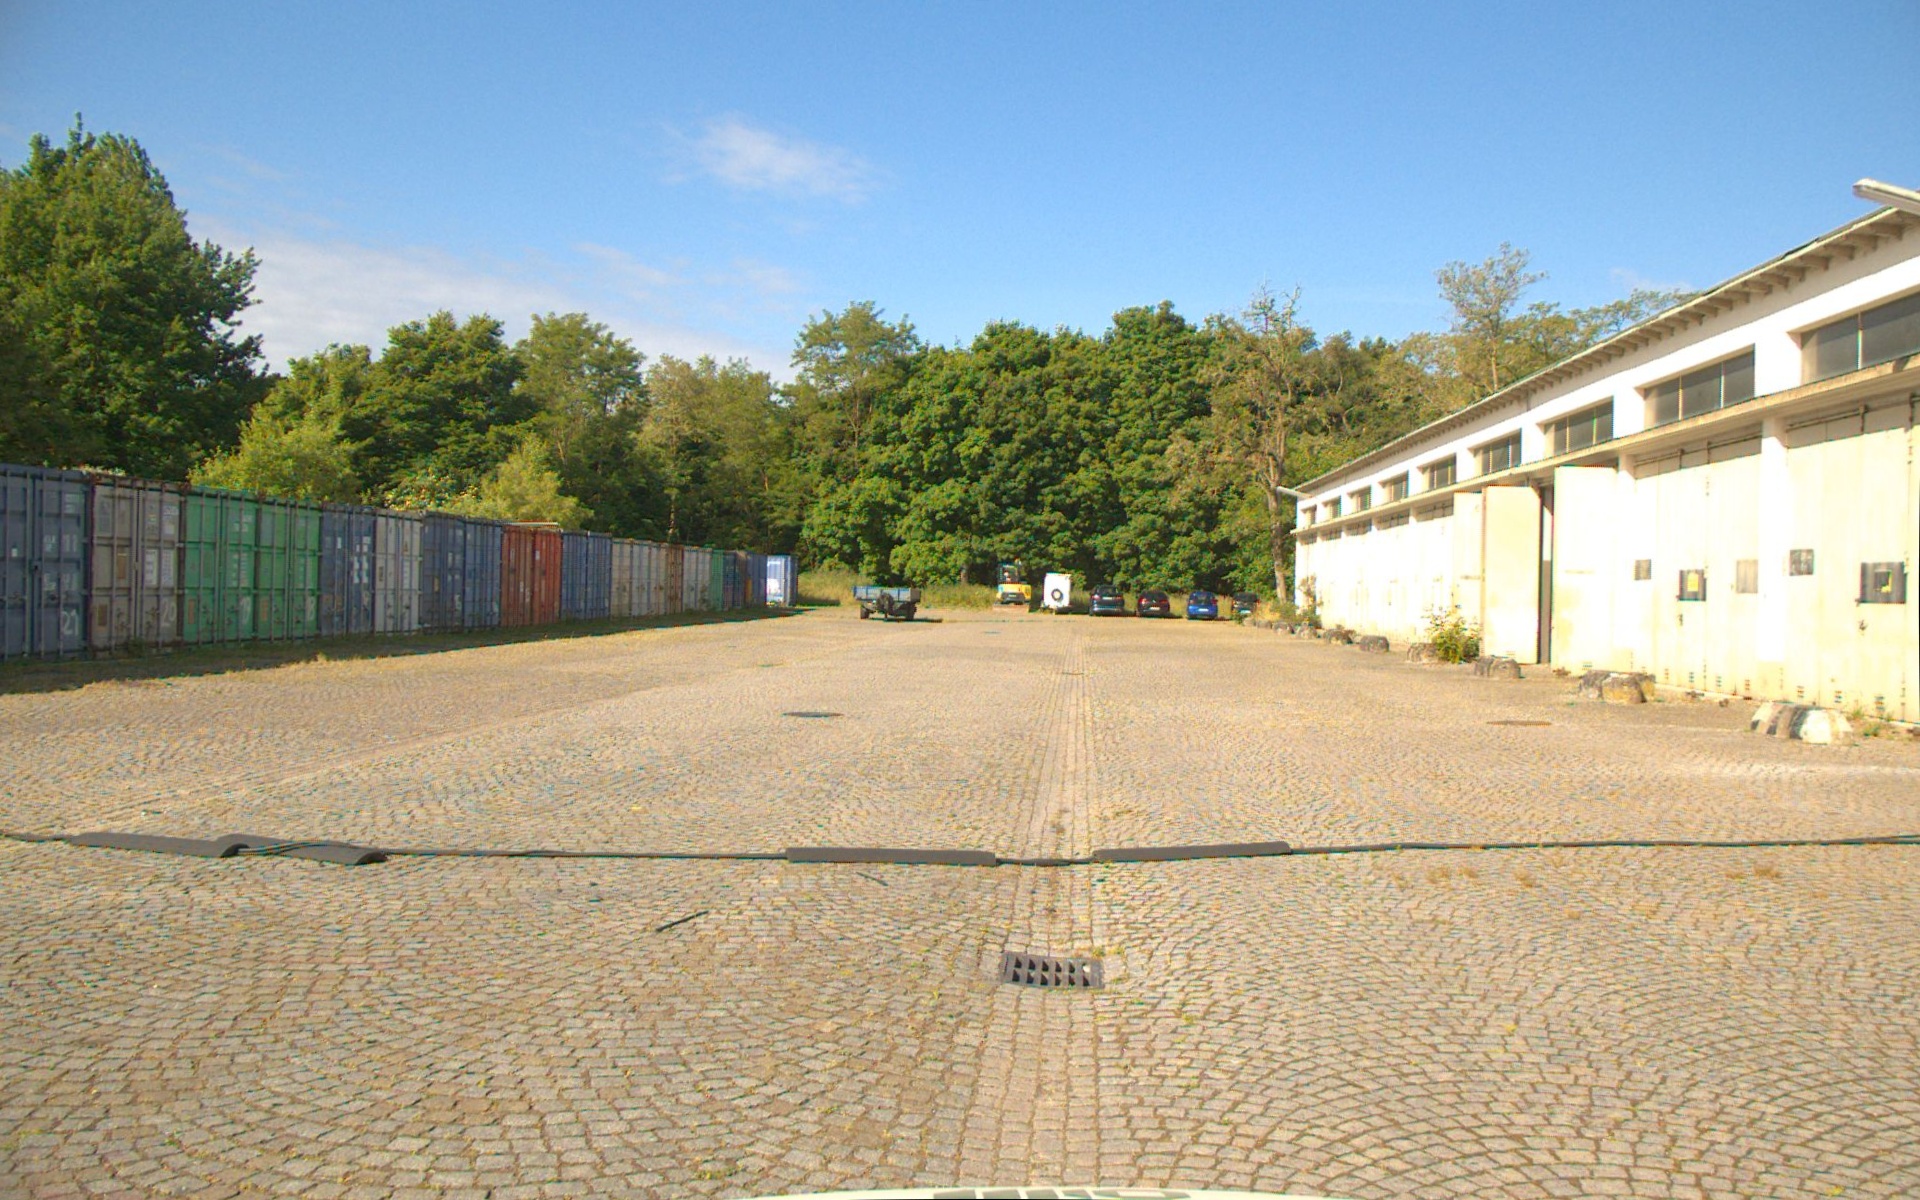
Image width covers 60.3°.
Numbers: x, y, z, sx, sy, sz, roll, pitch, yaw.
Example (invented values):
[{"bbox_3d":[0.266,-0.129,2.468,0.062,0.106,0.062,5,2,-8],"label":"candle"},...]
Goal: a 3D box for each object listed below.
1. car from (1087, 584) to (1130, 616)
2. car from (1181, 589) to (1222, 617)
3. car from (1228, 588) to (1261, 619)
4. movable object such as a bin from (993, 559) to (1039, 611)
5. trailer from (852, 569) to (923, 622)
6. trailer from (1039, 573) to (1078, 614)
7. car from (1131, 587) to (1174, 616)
[{"bbox_3d":[7.938,-0.013,88.136,1.822,1.613,4.003,1,0,11],"label":"car"},{"bbox_3d":[12.869,0.141,87.962,1.951,1.445,4.003,1,0,11],"label":"car"},{"bbox_3d":[15.351,0.175,89.025,1.649,1.591,4.003,1,0,11],"label":"car"},{"bbox_3d":[3.085,-0.805,90.428,1.951,2.663,4.003,3,1,8],"label":"movable object such as a bin"},{"bbox_3d":[-3.112,-0.199,71.508,2.356,2.048,4.176,3,1,6],"label":"trailer"},{"bbox_3d":[5.398,-0.338,89.990,1.755,2.126,3.975,1,0,8],"label":"trailer"},{"bbox_3d":[10.299,0.068,88.141,1.951,1.488,4.003,1,0,11],"label":"car"}]
